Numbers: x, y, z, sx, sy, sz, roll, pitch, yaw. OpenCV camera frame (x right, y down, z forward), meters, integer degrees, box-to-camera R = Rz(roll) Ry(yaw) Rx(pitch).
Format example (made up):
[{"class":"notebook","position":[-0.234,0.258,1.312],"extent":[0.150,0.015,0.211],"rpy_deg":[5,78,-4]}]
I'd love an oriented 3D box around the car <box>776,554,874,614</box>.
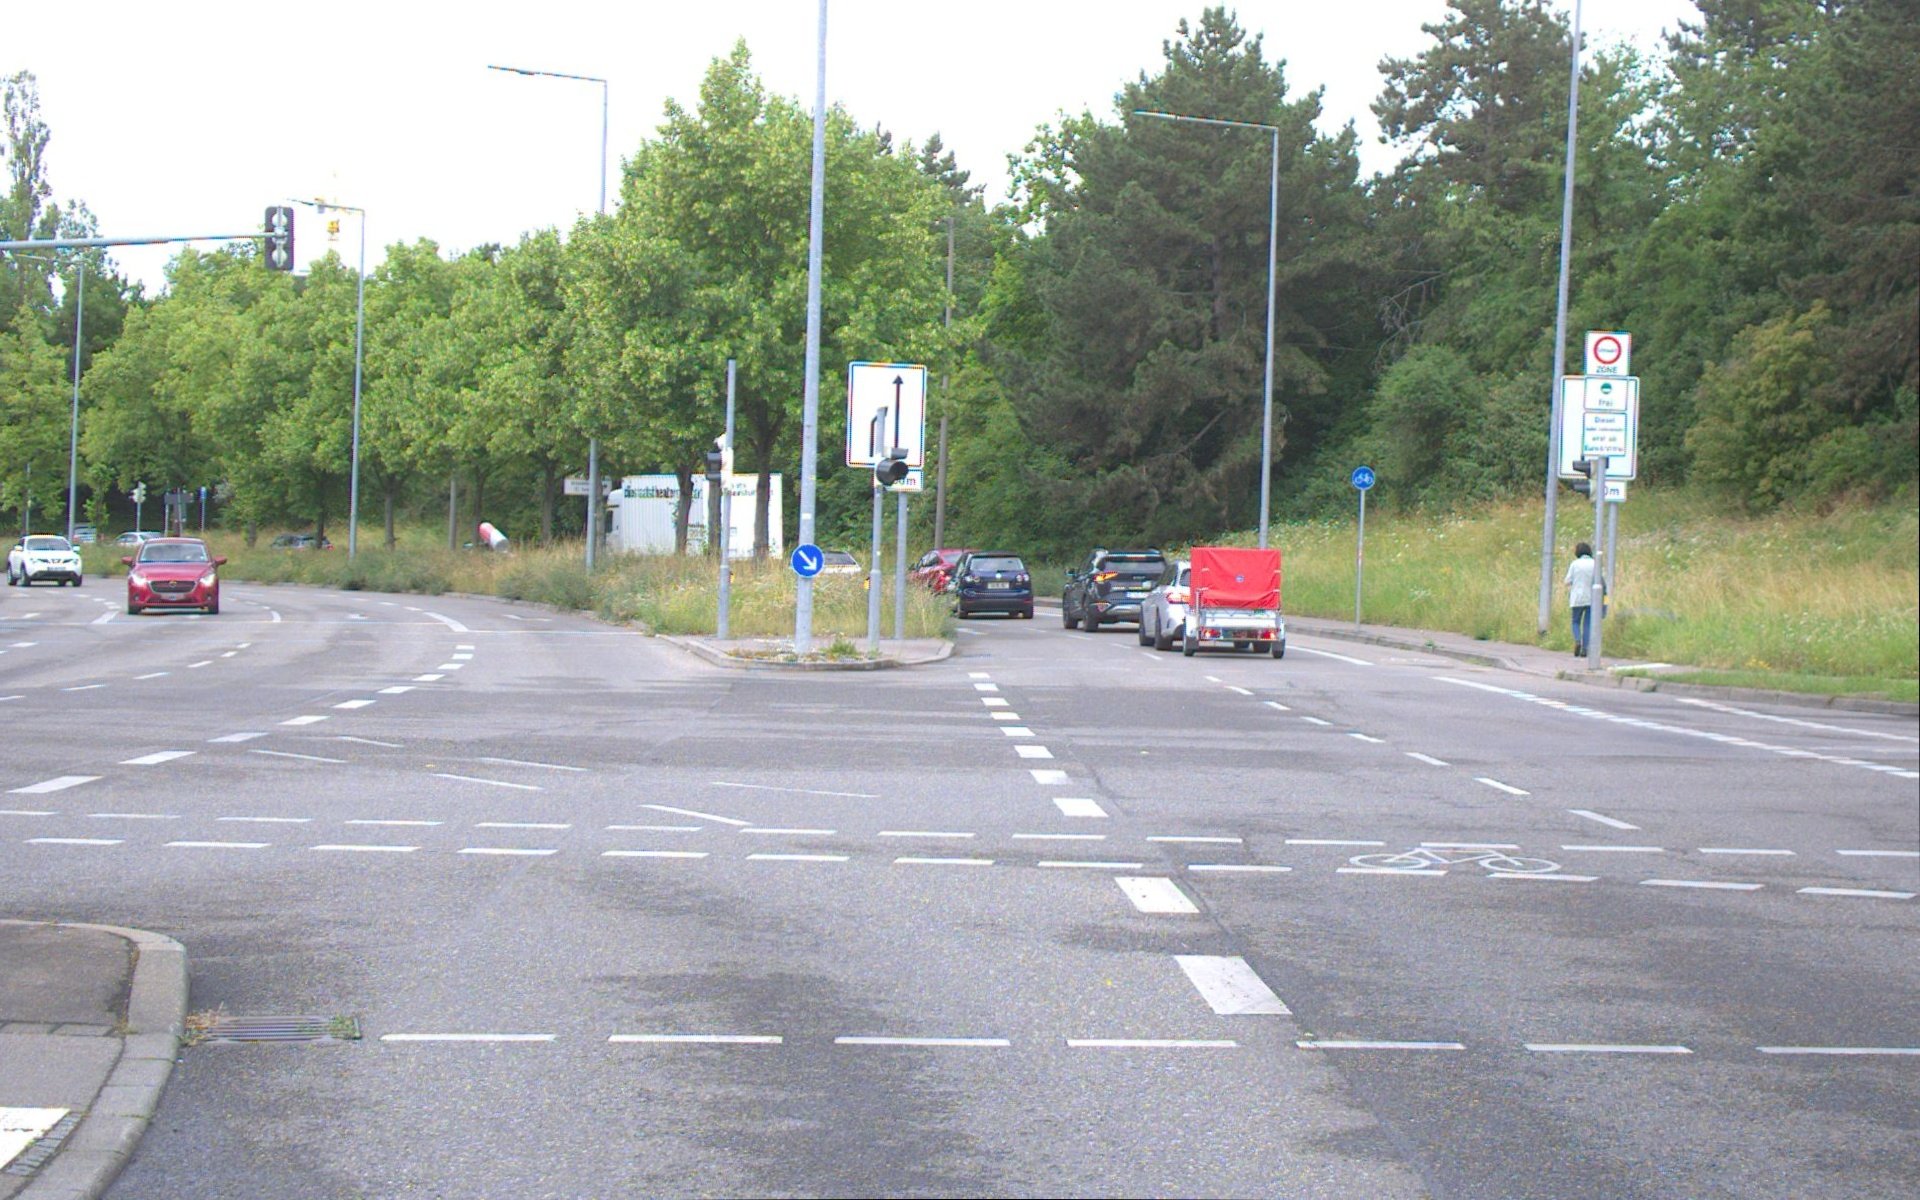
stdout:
[{"class":"car","position":[-3.714,-0.445,94.122],"extent":[1.777,1.541,4.026],"rpy_deg":[0,1,-16]}]

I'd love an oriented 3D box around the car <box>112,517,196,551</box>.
[{"class":"car","position":[-37.495,-3.066,160.077],"extent":[1.780,1.541,4.020],"rpy_deg":[1,1,23]}]

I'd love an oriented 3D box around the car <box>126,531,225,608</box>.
[{"class":"car","position":[-15.174,-0.614,66.643],"extent":[1.780,1.438,4.427],"rpy_deg":[0,1,-12]}]

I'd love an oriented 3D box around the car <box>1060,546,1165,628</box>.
[{"class":"car","position":[3.008,-0.280,68.418],"extent":[1.778,1.541,4.025],"rpy_deg":[1,1,-2]}]

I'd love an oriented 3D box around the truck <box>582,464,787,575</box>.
[{"class":"truck","position":[-8.895,-2.581,109.141],"extent":[2.739,3.317,11.409],"rpy_deg":[0,1,-24]}]

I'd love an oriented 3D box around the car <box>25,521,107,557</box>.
[{"class":"car","position":[-40.264,-2.761,154.773],"extent":[4.022,1.541,1.779],"rpy_deg":[2,2,45]}]

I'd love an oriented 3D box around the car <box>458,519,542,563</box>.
[{"class":"car","position":[-16.603,-2.128,123.924],"extent":[1.778,1.541,4.025],"rpy_deg":[0,1,-27]}]

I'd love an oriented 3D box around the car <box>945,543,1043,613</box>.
[{"class":"car","position":[0.762,-0.532,80.116],"extent":[1.777,1.541,4.026],"rpy_deg":[1,1,-7]}]

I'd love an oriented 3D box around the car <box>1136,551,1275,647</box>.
[{"class":"car","position":[3.922,-0.046,55.568],"extent":[1.778,1.416,4.459],"rpy_deg":[1,1,-2]}]

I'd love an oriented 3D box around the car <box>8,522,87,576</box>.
[{"class":"car","position":[-28.007,-1.566,105.422],"extent":[1.828,1.623,4.427],"rpy_deg":[0,1,-21]}]

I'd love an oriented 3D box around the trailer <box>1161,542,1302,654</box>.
[{"class":"trailer","position":[4.060,-0.054,51.828],"extent":[1.764,1.610,3.044],"rpy_deg":[1,1,-2]}]

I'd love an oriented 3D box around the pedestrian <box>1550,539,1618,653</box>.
[{"class":"pedestrian","position":[9.058,-0.068,49.910],"extent":[0.814,1.622,0.791],"rpy_deg":[1,1,-1]}]
